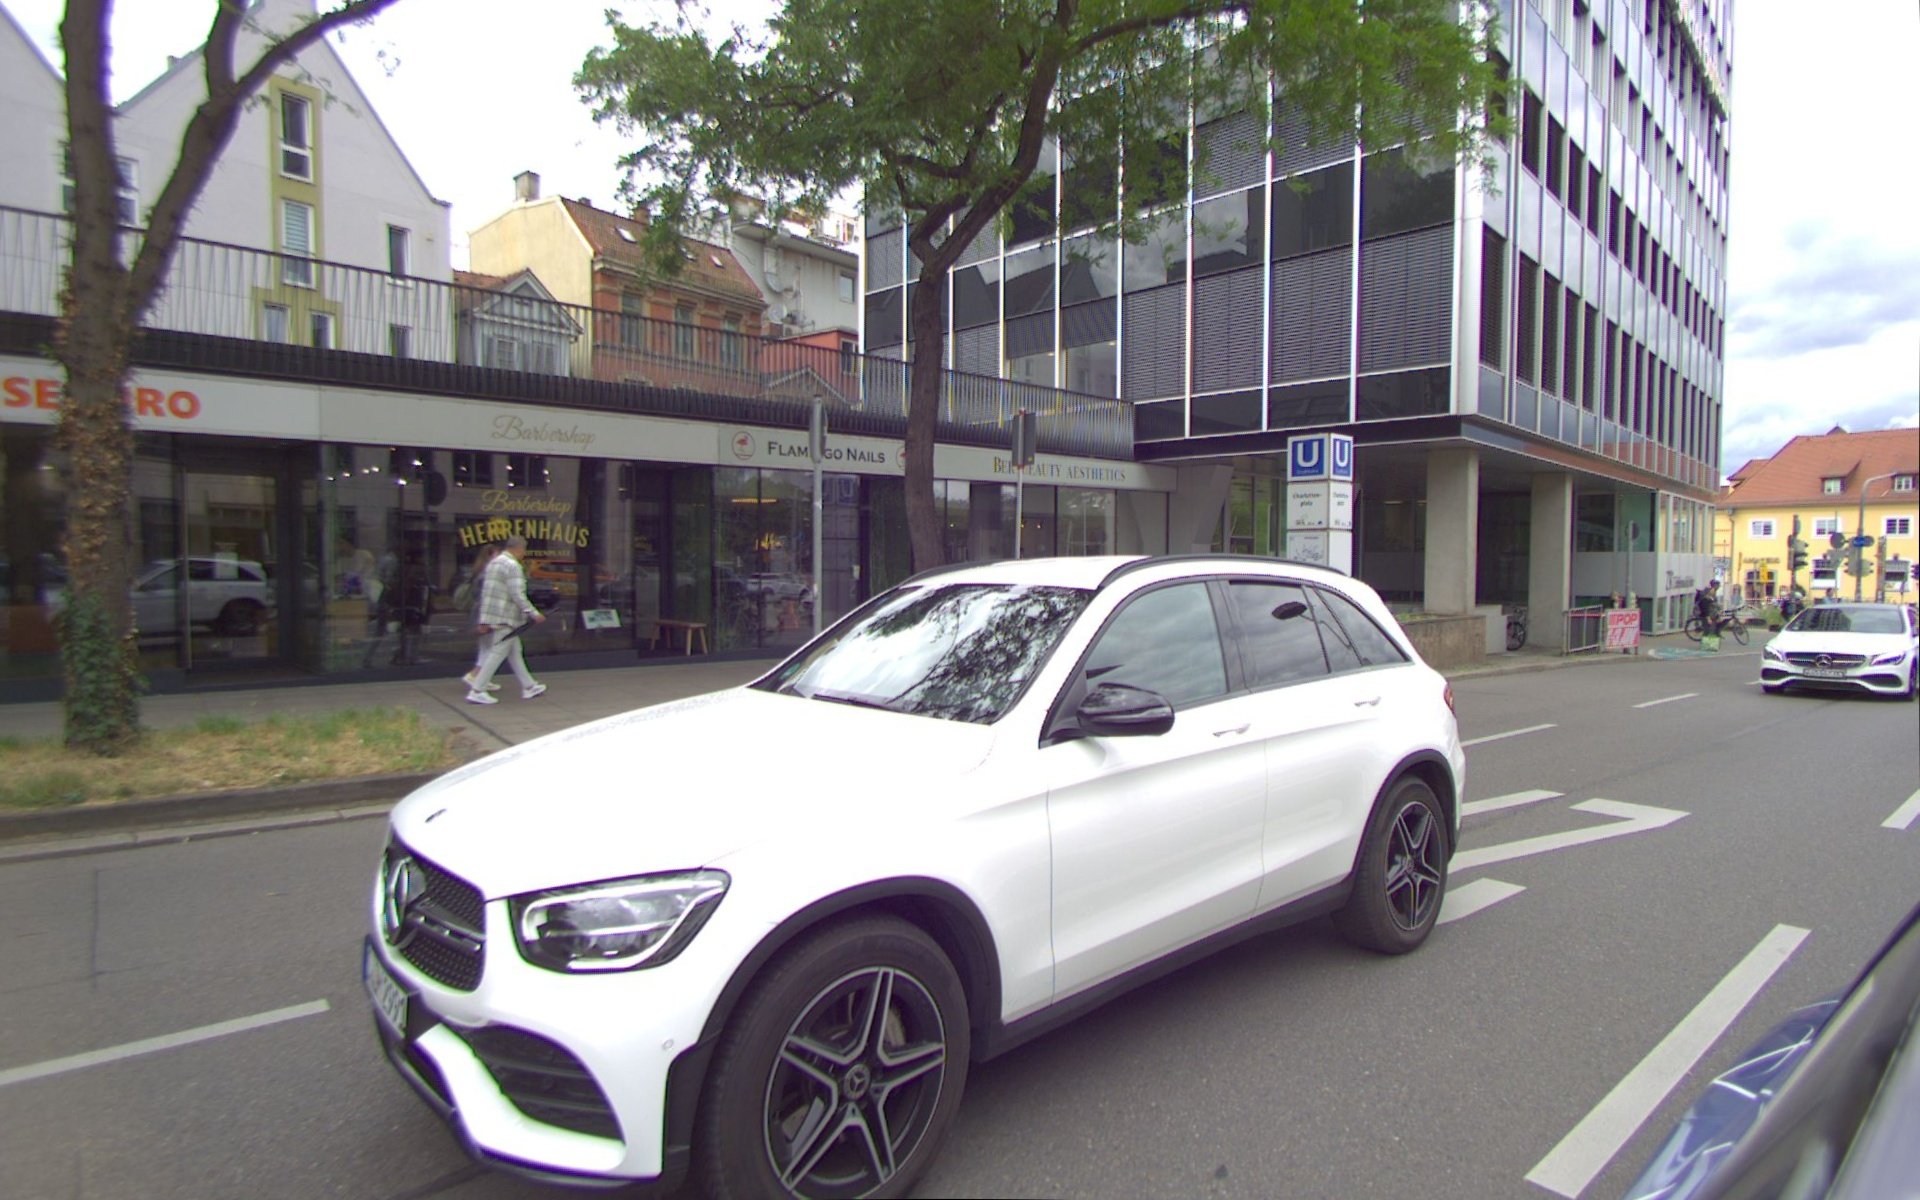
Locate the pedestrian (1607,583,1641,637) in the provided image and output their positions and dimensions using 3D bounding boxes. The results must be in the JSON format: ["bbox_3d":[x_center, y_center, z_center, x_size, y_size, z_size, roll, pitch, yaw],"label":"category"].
[{"bbox_3d":[18.858,0.269,28.732,0.825,1.460,0.604,-1,3,-45],"label":"pedestrian"}]

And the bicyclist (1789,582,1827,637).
[{"bbox_3d":[25.357,0.272,30.261,0.559,1.568,0.841,2,3,21],"label":"bicyclist"}]

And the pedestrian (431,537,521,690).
[{"bbox_3d":[-5.452,0.136,11.397,0.596,1.649,0.745,3,2,44],"label":"pedestrian"}]

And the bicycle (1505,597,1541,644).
[{"bbox_3d":[13.546,0.474,24.368,0.708,1.061,1.471,2,2,29],"label":"bicycle"}]

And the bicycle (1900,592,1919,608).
[{"bbox_3d":[67.603,0.010,71.408,0.609,1.099,1.774,0,2,-30],"label":"bicycle"}]

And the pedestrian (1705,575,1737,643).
[{"bbox_3d":[20.424,0.230,27.147,0.525,1.732,0.741,4,5,44],"label":"pedestrian"}]

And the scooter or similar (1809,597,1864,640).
[{"bbox_3d":[26.550,0.551,30.668,0.583,1.190,1.321,1,3,8],"label":"scooter or similar"}]

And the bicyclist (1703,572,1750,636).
[{"bbox_3d":[22.996,0.100,30.370,0.661,1.868,0.816,1,3,-14],"label":"bicyclist"}]

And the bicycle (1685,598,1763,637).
[{"bbox_3d":[22.979,0.514,30.476,0.666,1.019,1.772,3,2,-15],"label":"bicycle"}]

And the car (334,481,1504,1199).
[{"bbox_3d":[0.231,0.548,3.871,4.258,1.666,1.806,-1,4,-41],"label":"car"}]

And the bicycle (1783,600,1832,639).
[{"bbox_3d":[25.368,0.562,30.315,0.574,1.039,1.659,2,3,21],"label":"bicycle"}]

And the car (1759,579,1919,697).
[{"bbox_3d":[14.372,0.495,15.943,4.569,1.588,1.870,0,2,-40],"label":"car"}]

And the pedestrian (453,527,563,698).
[{"bbox_3d":[-4.918,0.109,11.027,0.596,1.775,0.926,3,2,44],"label":"pedestrian"}]

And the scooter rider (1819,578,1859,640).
[{"bbox_3d":[26.542,0.254,30.576,0.583,1.830,0.642,1,2,8],"label":"scooter rider"}]
